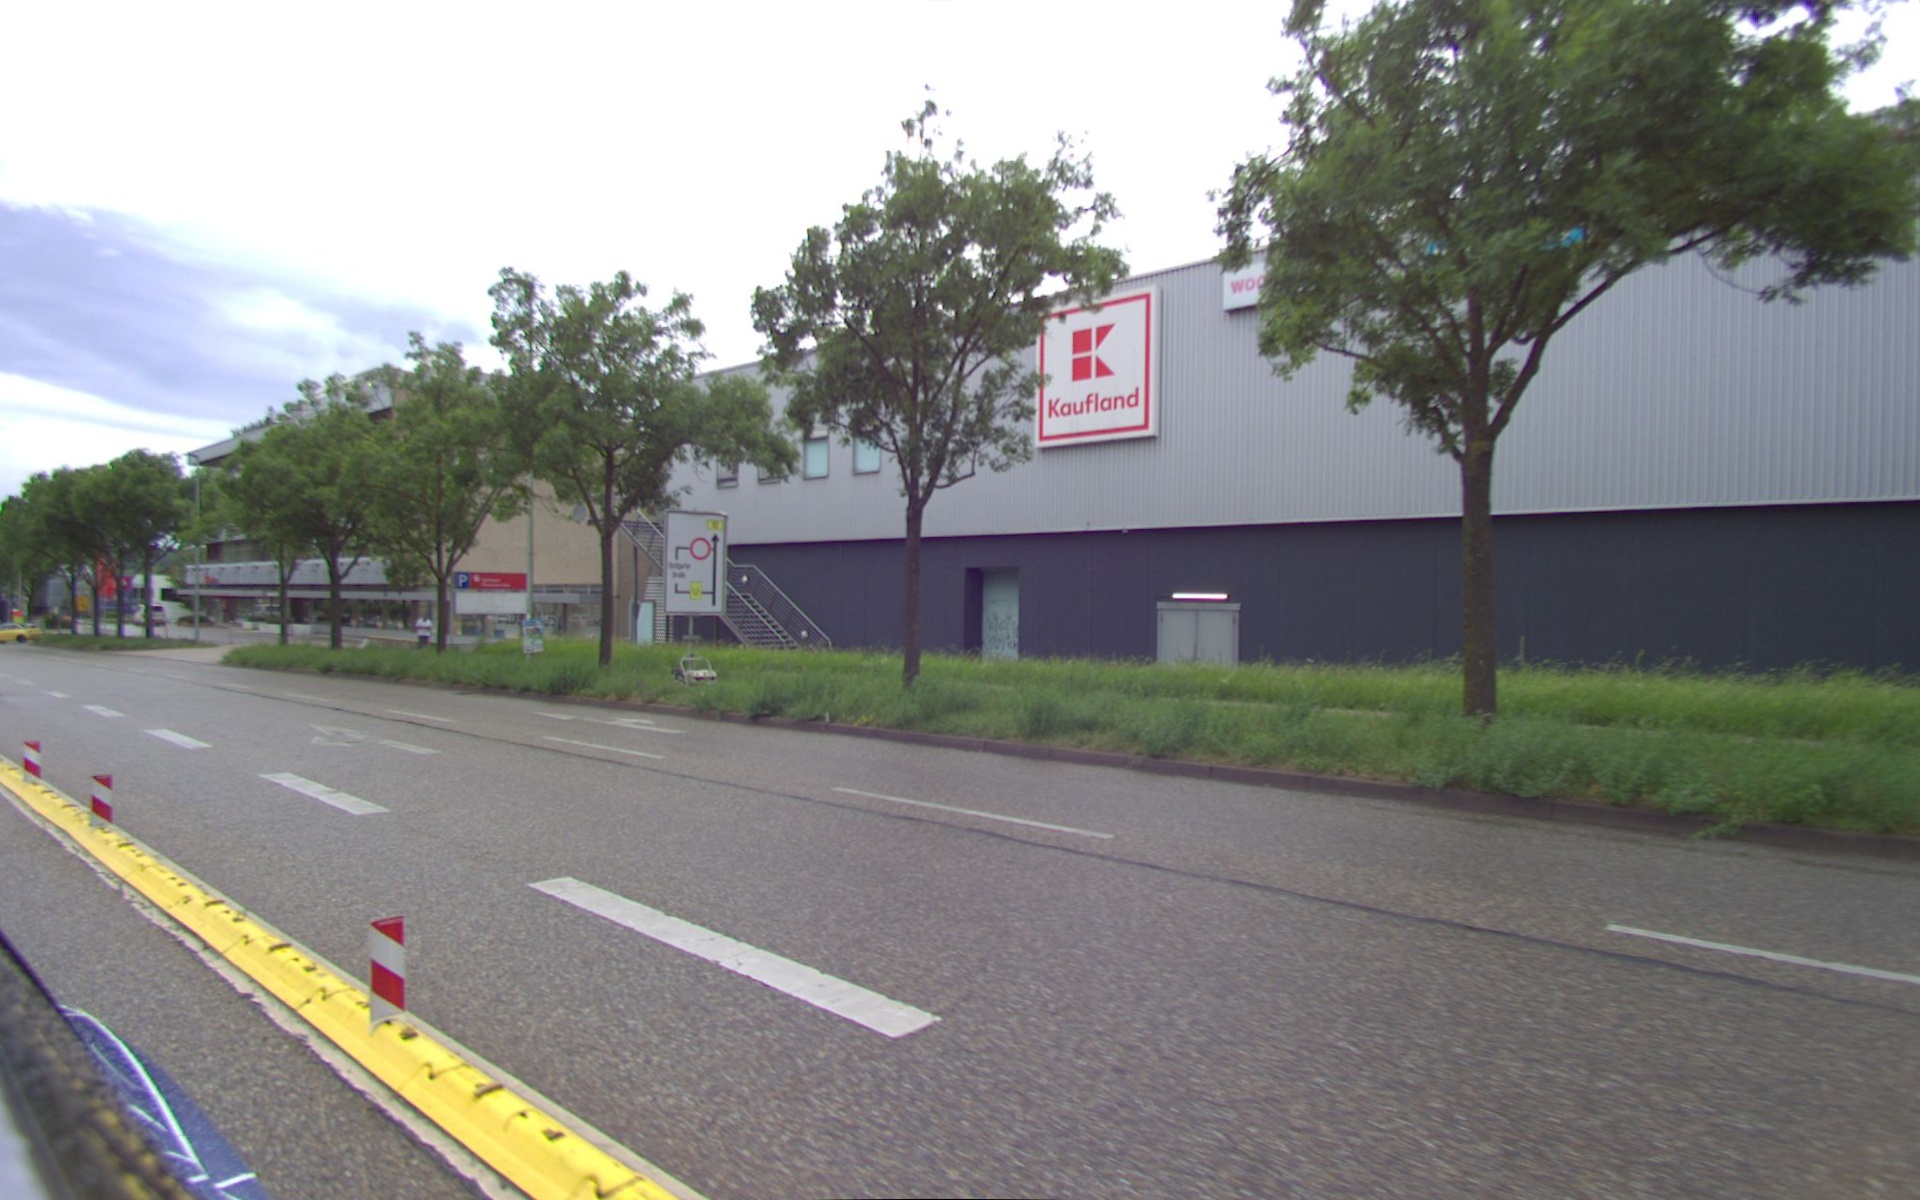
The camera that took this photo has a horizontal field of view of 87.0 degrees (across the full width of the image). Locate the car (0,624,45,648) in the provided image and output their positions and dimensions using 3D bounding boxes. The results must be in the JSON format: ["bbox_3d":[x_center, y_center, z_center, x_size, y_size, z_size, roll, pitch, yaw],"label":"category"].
[{"bbox_3d":[-69.441,2.682,73.786,3.649,1.520,1.627,-3,3,-14],"label":"car"}]

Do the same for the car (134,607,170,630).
[{"bbox_3d":[-76.397,1.683,95.647,4.887,2.028,1.971,-1,2,44],"label":"car"}]

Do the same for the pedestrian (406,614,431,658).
[{"bbox_3d":[-20.285,1.329,37.920,0.767,1.595,0.578,-1,0,42],"label":"pedestrian"}]
